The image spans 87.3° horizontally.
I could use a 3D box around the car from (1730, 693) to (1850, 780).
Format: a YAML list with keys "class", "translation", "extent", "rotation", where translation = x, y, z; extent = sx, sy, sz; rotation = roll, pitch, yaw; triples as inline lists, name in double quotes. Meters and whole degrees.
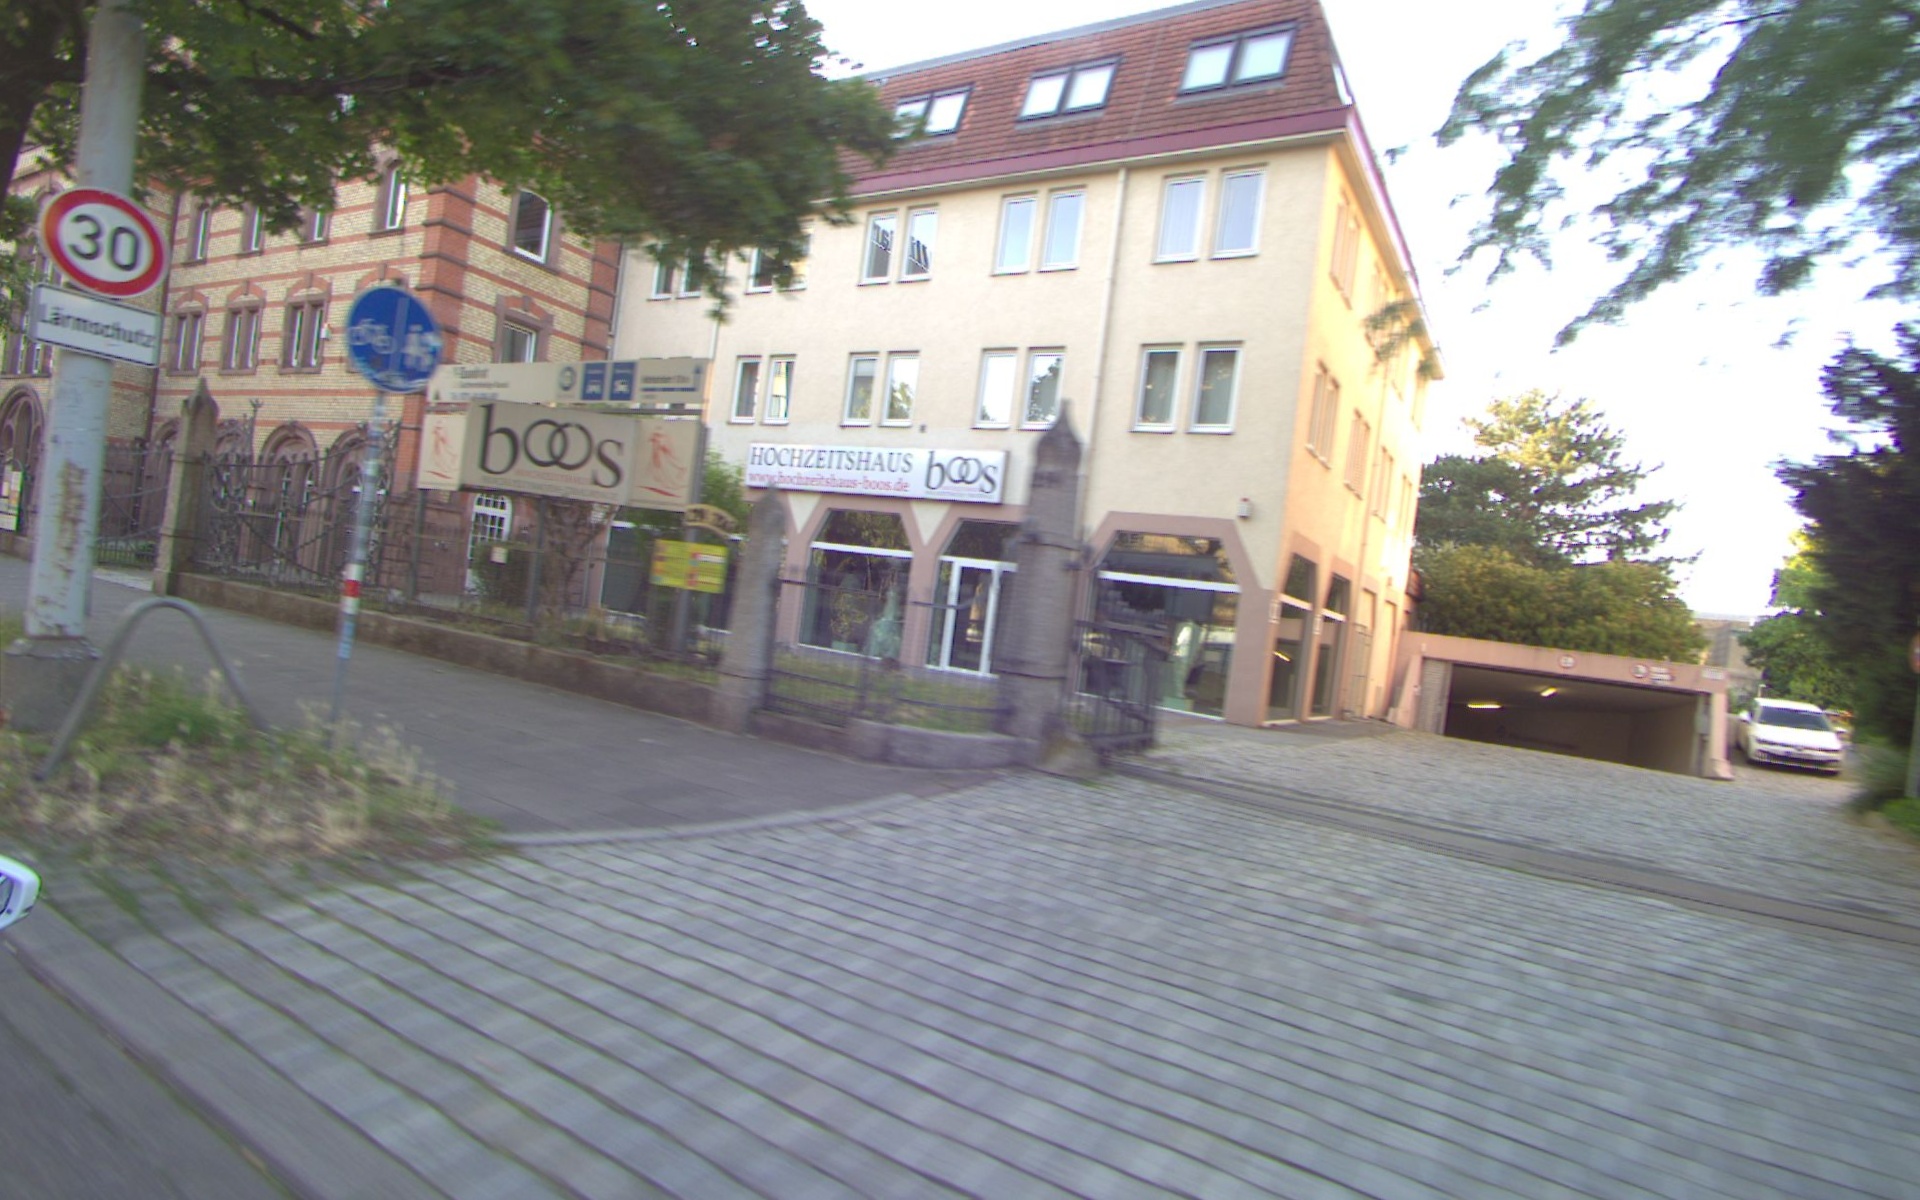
- class: "car"
  translation: [20.715, 3.327, 25.273]
  extent: [1.793, 1.506, 4.435]
  rotation: [7, 3, 35]
